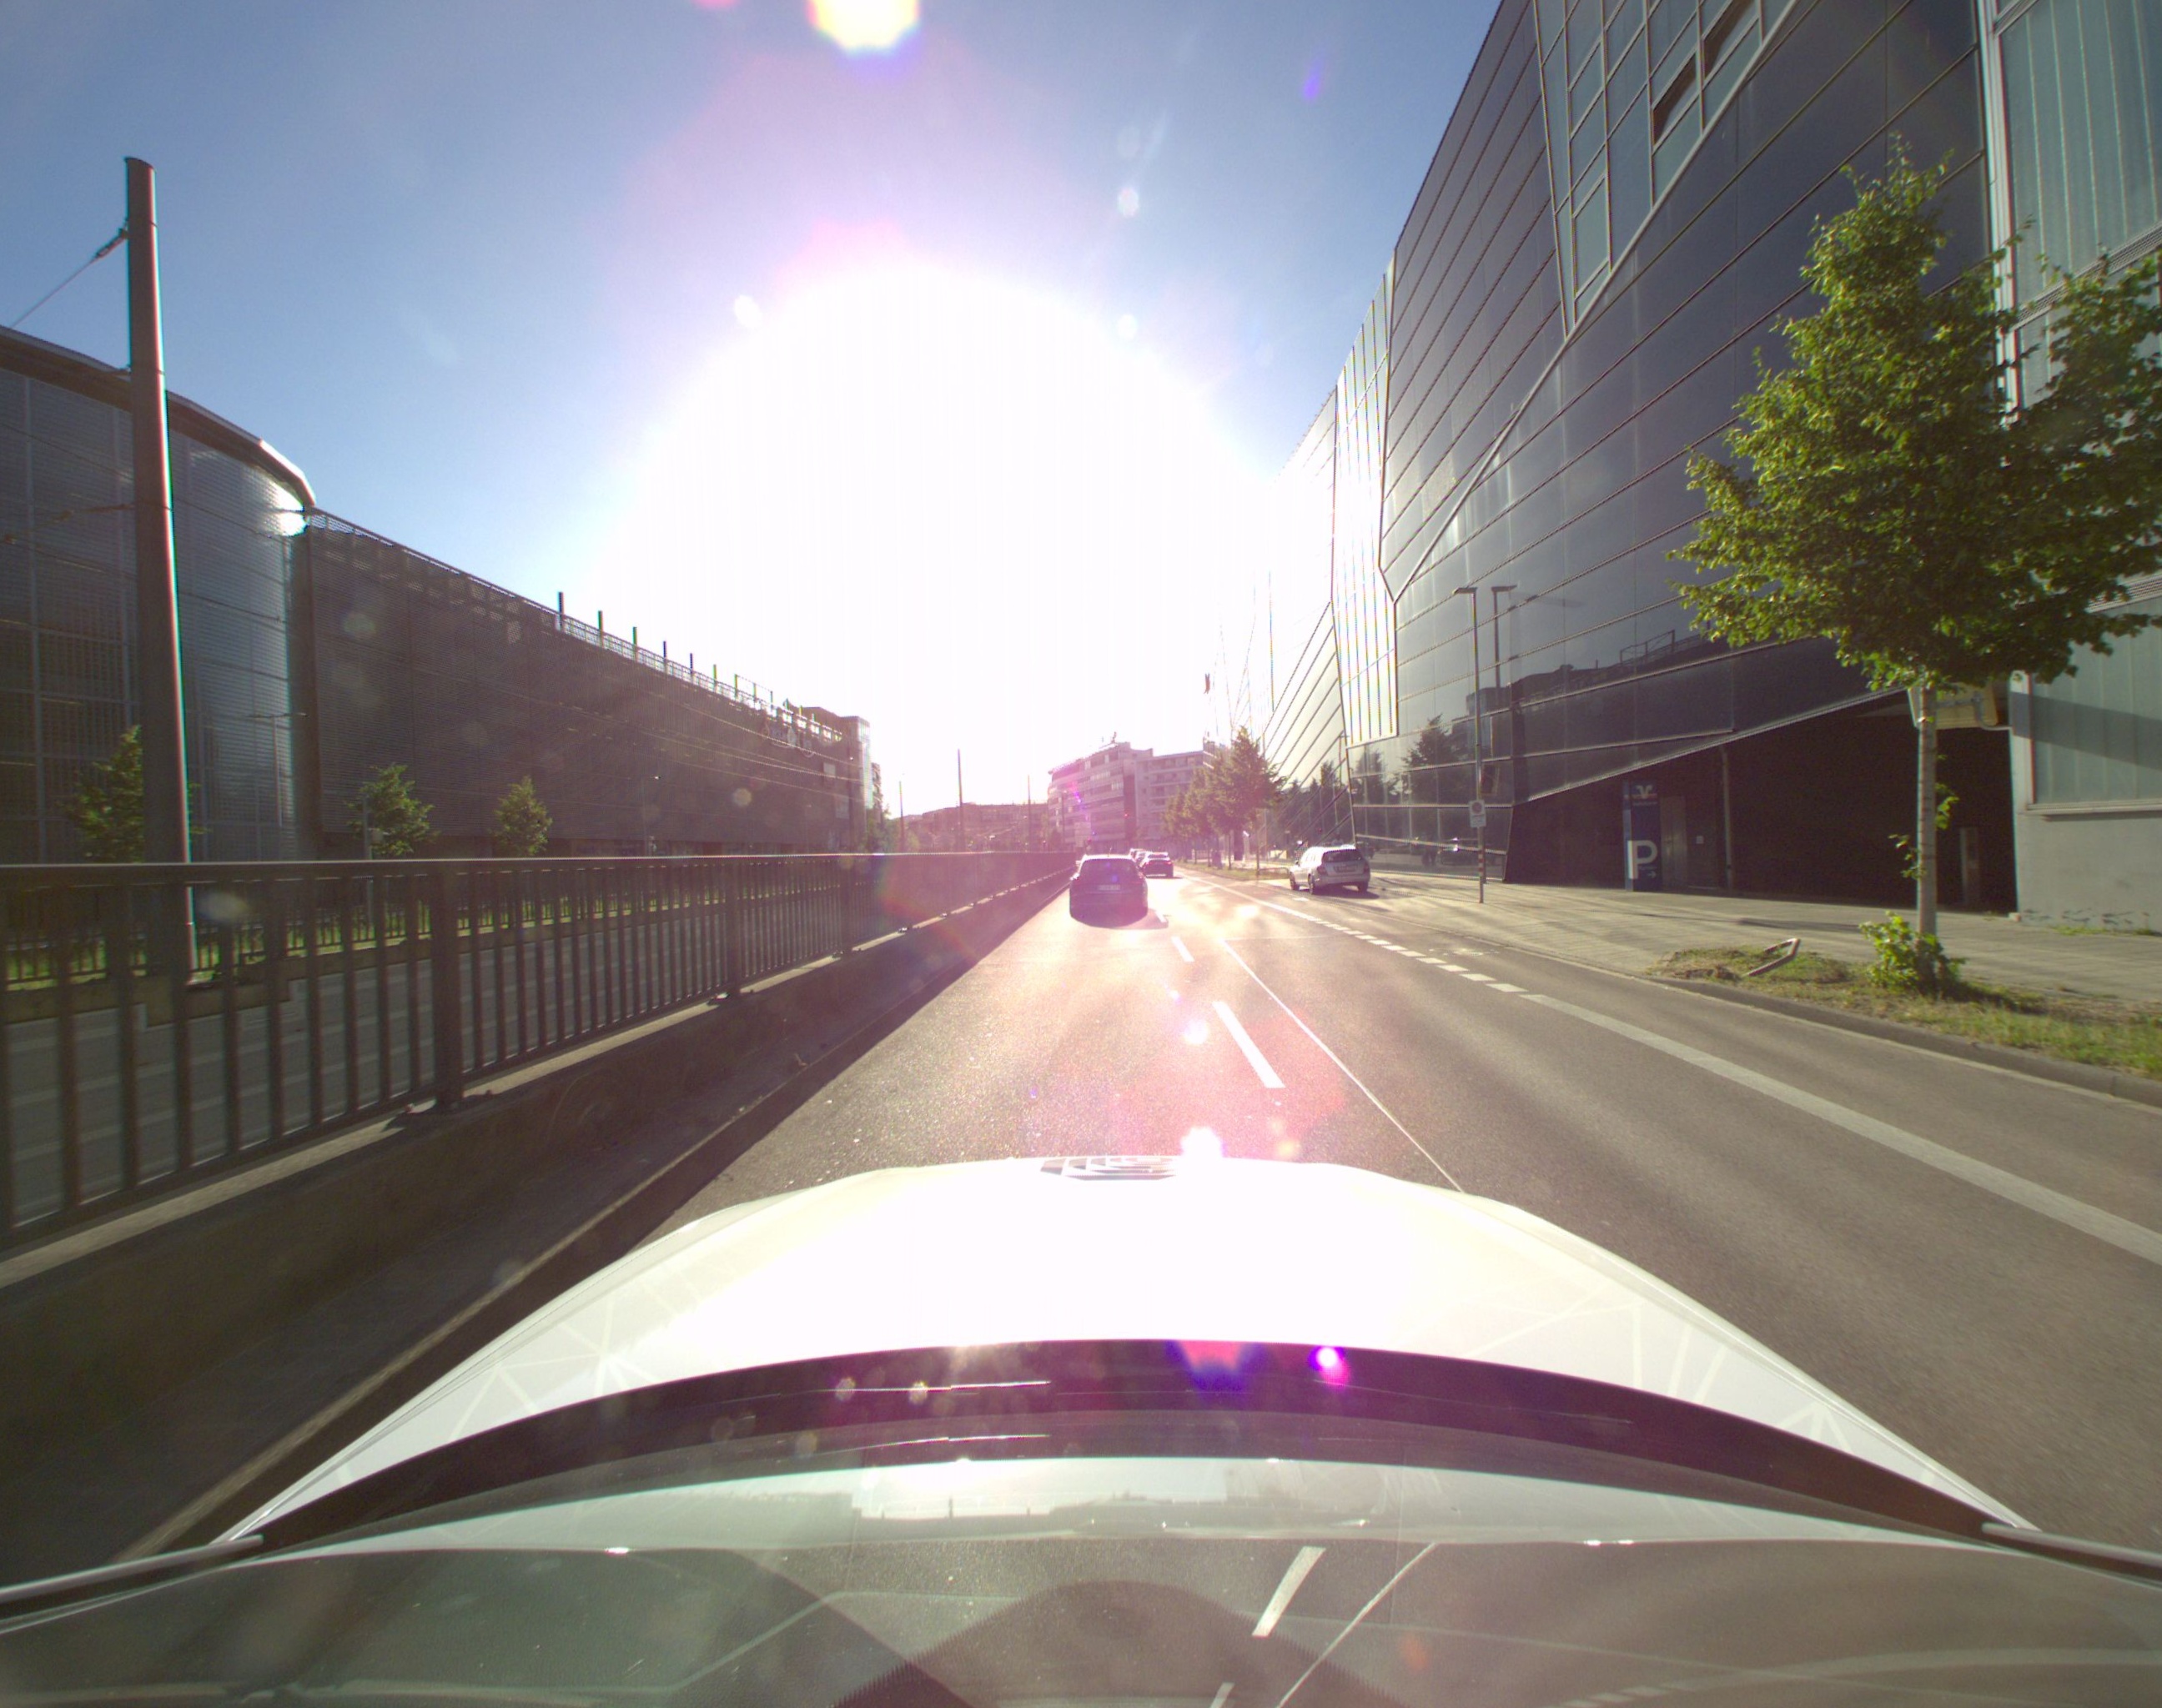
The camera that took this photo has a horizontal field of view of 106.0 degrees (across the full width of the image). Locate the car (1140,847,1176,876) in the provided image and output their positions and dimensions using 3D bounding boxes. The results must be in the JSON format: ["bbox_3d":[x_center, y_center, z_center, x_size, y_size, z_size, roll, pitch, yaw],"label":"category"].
[{"bbox_3d":[4.378,0.385,46.743,1.845,1.546,4.004,-1,1,3],"label":"car"}]

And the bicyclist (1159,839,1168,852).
[{"bbox_3d":[9.464,-1.003,93.418,0.723,1.418,0.890,-4,0,-5],"label":"bicyclist"}]

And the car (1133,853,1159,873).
[{"bbox_3d":[5.318,0.681,67.118,1.986,1.465,4.002,-1,1,2],"label":"car"}]

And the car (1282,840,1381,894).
[{"bbox_3d":[8.141,0.358,26.981,1.846,1.481,4.856,-4,1,2],"label":"car"}]

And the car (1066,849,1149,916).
[{"bbox_3d":[0.676,0.637,20.730,1.805,1.427,4.691,-3,0,2],"label":"car"}]

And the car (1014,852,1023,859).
[{"bbox_3d":[-16.656,0.297,217.870,1.987,1.749,3.999,-4,0,0],"label":"car"}]

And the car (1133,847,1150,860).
[{"bbox_3d":[7.385,-0.031,99.718,1.985,1.465,4.005,-1,1,4],"label":"car"}]

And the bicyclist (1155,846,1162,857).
[{"bbox_3d":[9.177,-0.325,95.934,0.721,1.268,1.037,-4,0,3],"label":"bicyclist"}]

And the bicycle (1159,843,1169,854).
[{"bbox_3d":[9.471,-0.664,93.398,0.723,1.184,2.090,-4,0,-4],"label":"bicycle"}]

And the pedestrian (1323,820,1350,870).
[{"bbox_3d":[10.595,-0.369,33.810,0.833,2.013,0.690,-3,0,3],"label":"pedestrian"}]
